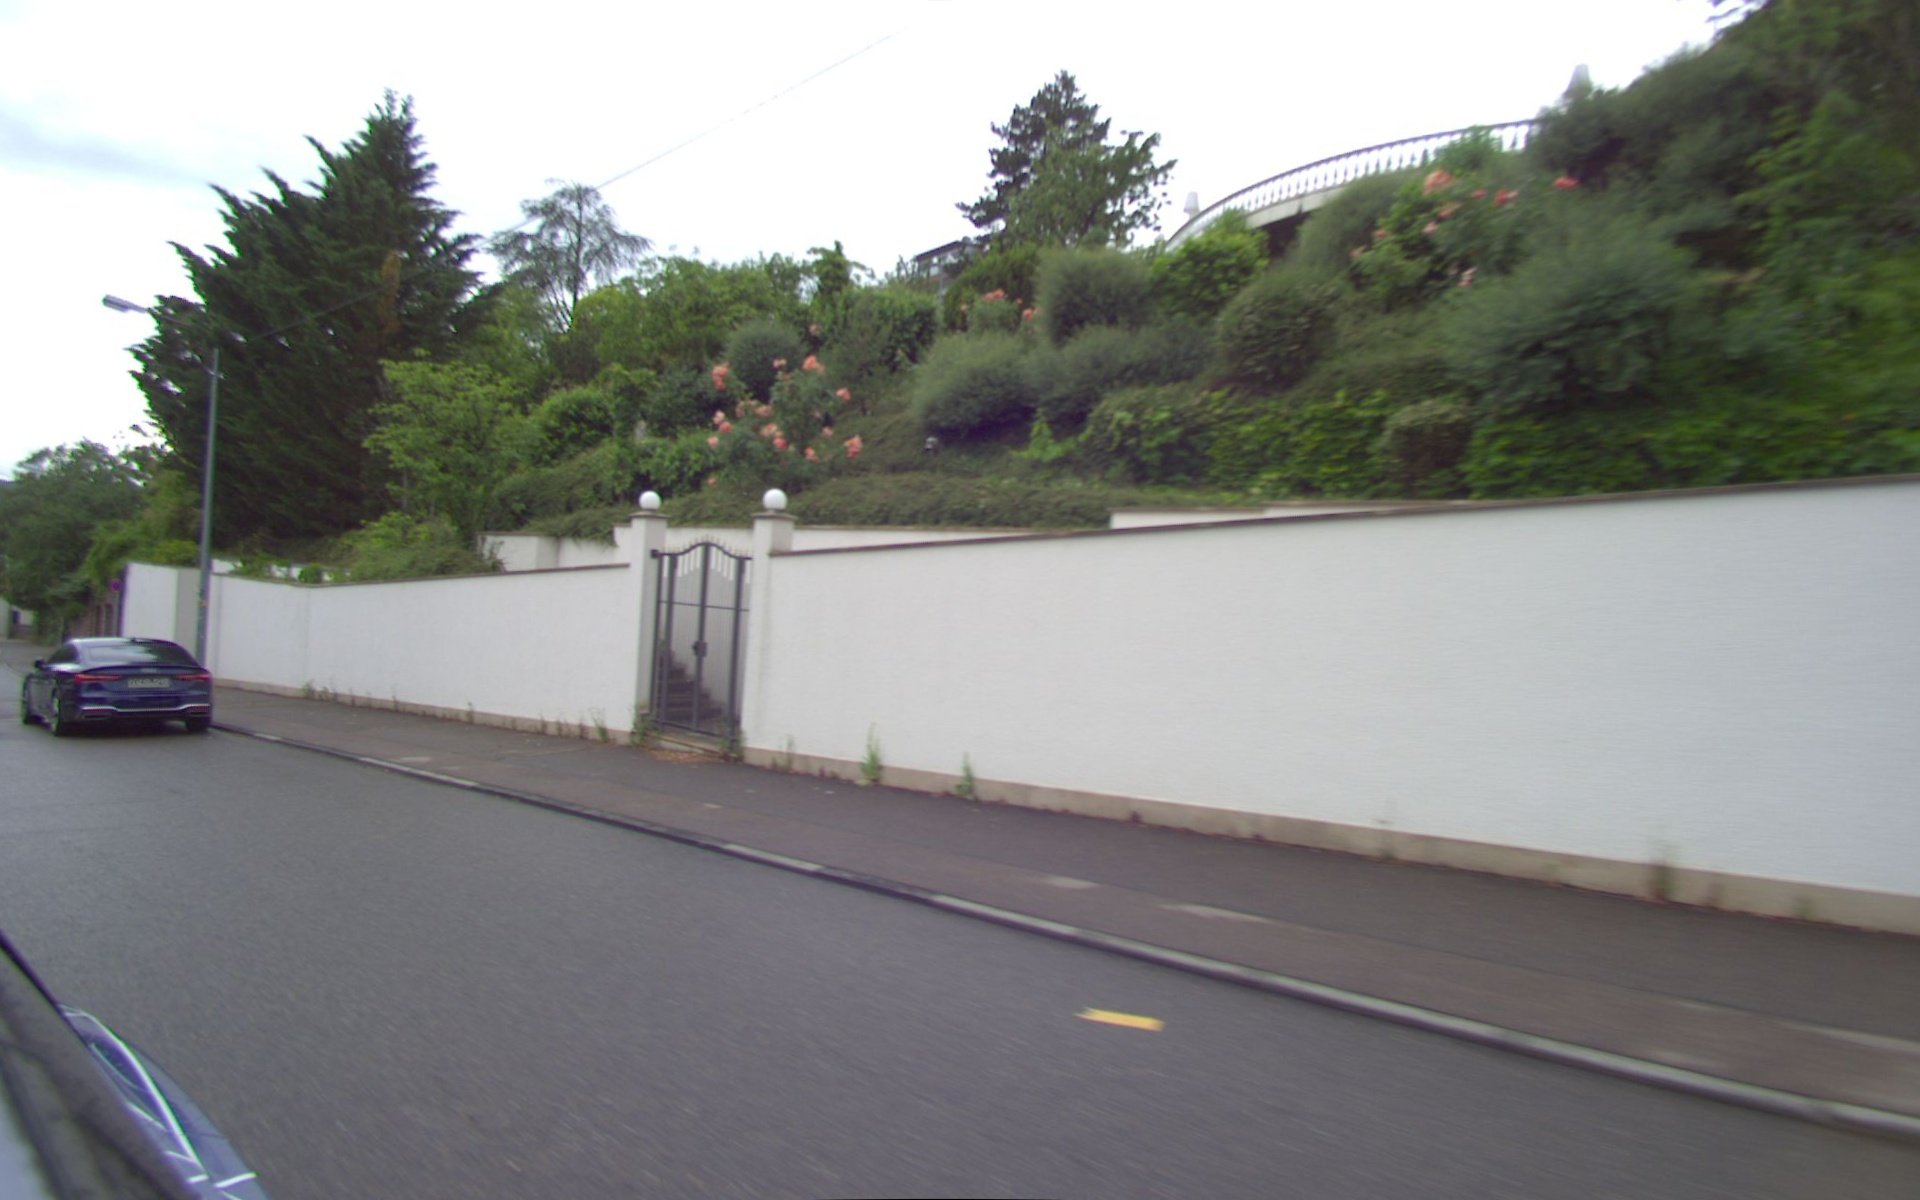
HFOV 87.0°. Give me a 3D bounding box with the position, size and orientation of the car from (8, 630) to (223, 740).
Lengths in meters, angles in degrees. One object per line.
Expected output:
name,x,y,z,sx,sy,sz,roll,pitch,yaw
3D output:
car,-12.942,1.198,15.419,4.251,1.441,1.788,-1,-3,41
